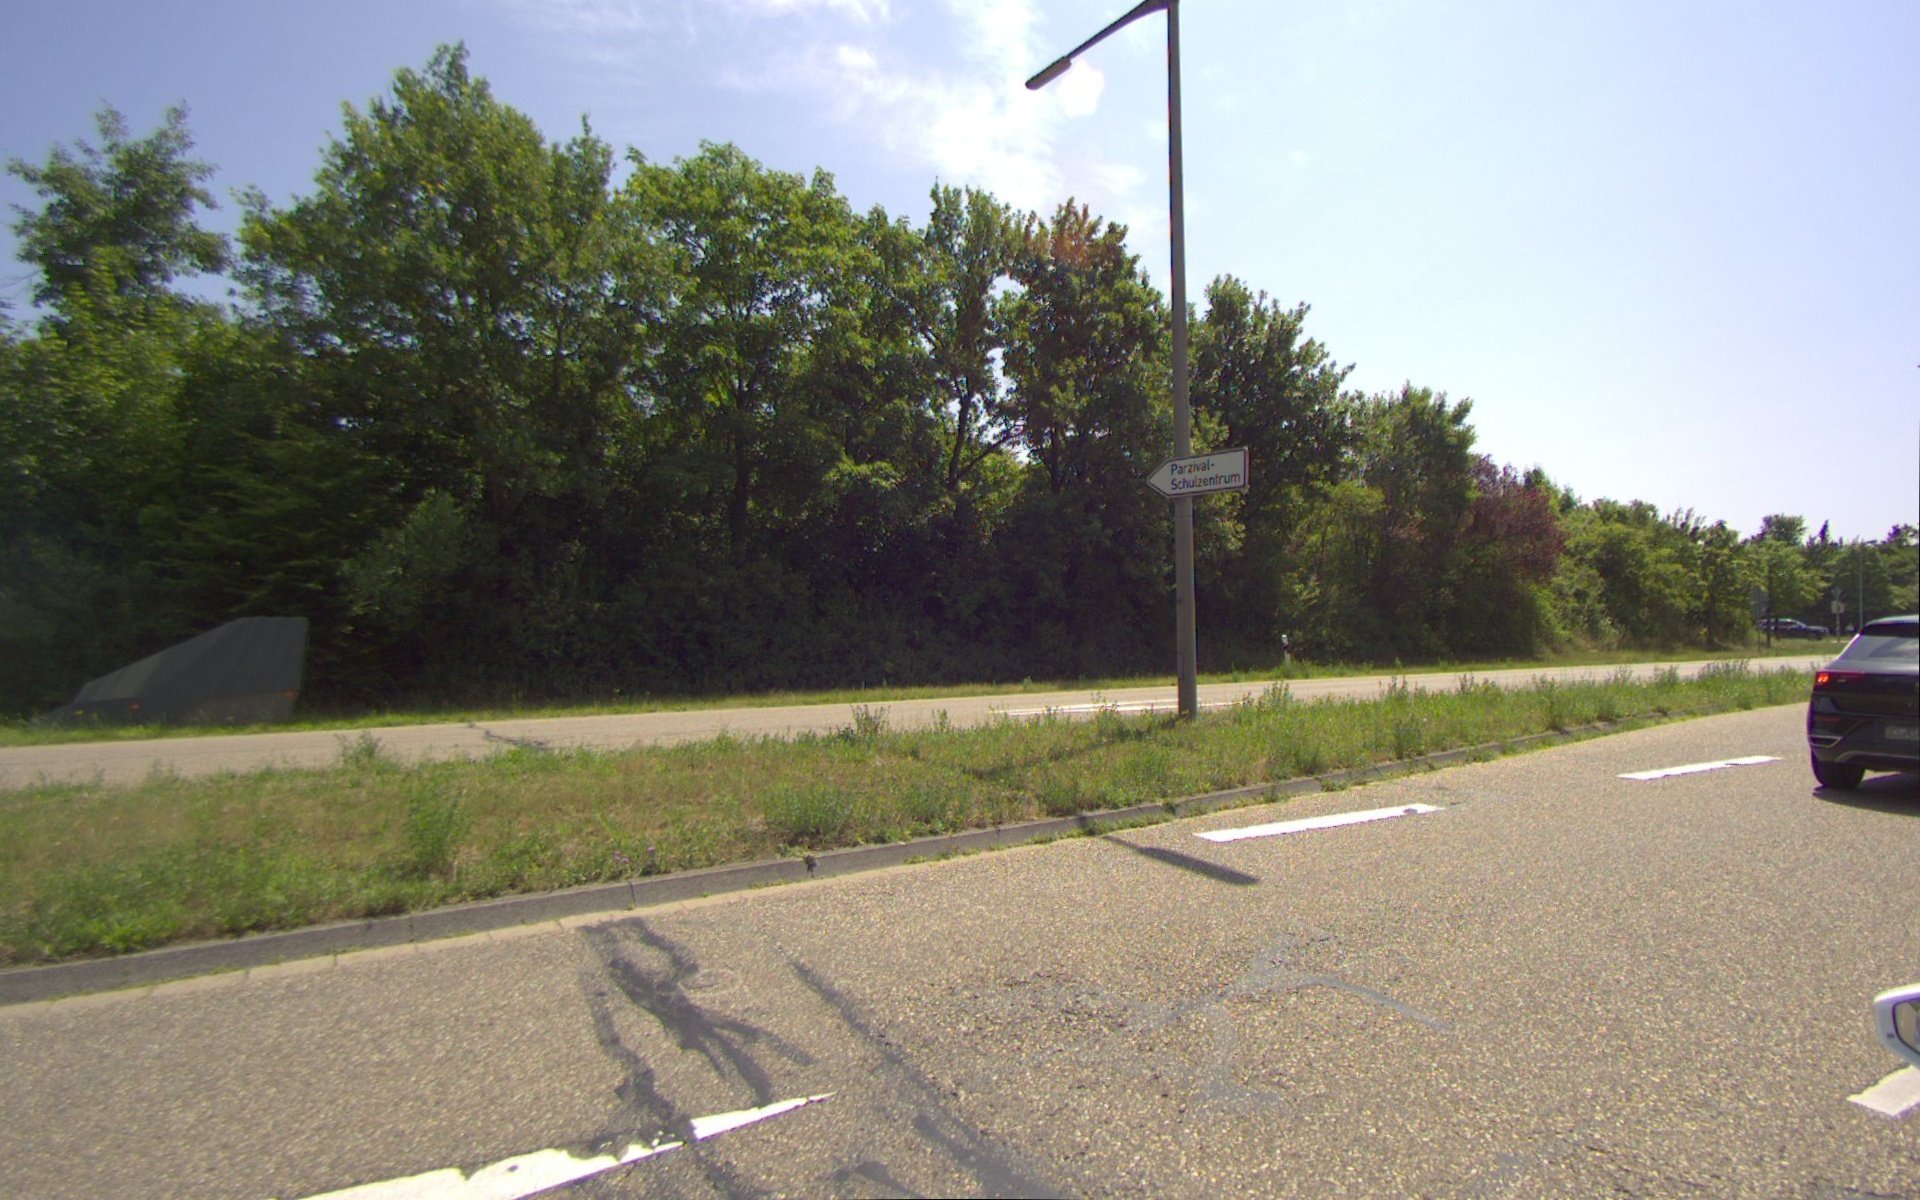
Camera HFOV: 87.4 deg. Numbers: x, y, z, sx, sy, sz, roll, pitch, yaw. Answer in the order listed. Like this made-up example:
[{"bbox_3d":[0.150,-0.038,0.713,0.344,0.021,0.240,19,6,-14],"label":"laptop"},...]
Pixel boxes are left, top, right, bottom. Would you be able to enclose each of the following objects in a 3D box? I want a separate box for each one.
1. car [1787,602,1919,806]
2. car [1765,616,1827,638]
[{"bbox_3d":[9.122,0.840,8.780,3.955,1.576,1.746,1,-1,-31],"label":"car"},{"bbox_3d":[72.547,2.320,87.153,1.986,1.855,3.949,1,-1,-43],"label":"car"}]
